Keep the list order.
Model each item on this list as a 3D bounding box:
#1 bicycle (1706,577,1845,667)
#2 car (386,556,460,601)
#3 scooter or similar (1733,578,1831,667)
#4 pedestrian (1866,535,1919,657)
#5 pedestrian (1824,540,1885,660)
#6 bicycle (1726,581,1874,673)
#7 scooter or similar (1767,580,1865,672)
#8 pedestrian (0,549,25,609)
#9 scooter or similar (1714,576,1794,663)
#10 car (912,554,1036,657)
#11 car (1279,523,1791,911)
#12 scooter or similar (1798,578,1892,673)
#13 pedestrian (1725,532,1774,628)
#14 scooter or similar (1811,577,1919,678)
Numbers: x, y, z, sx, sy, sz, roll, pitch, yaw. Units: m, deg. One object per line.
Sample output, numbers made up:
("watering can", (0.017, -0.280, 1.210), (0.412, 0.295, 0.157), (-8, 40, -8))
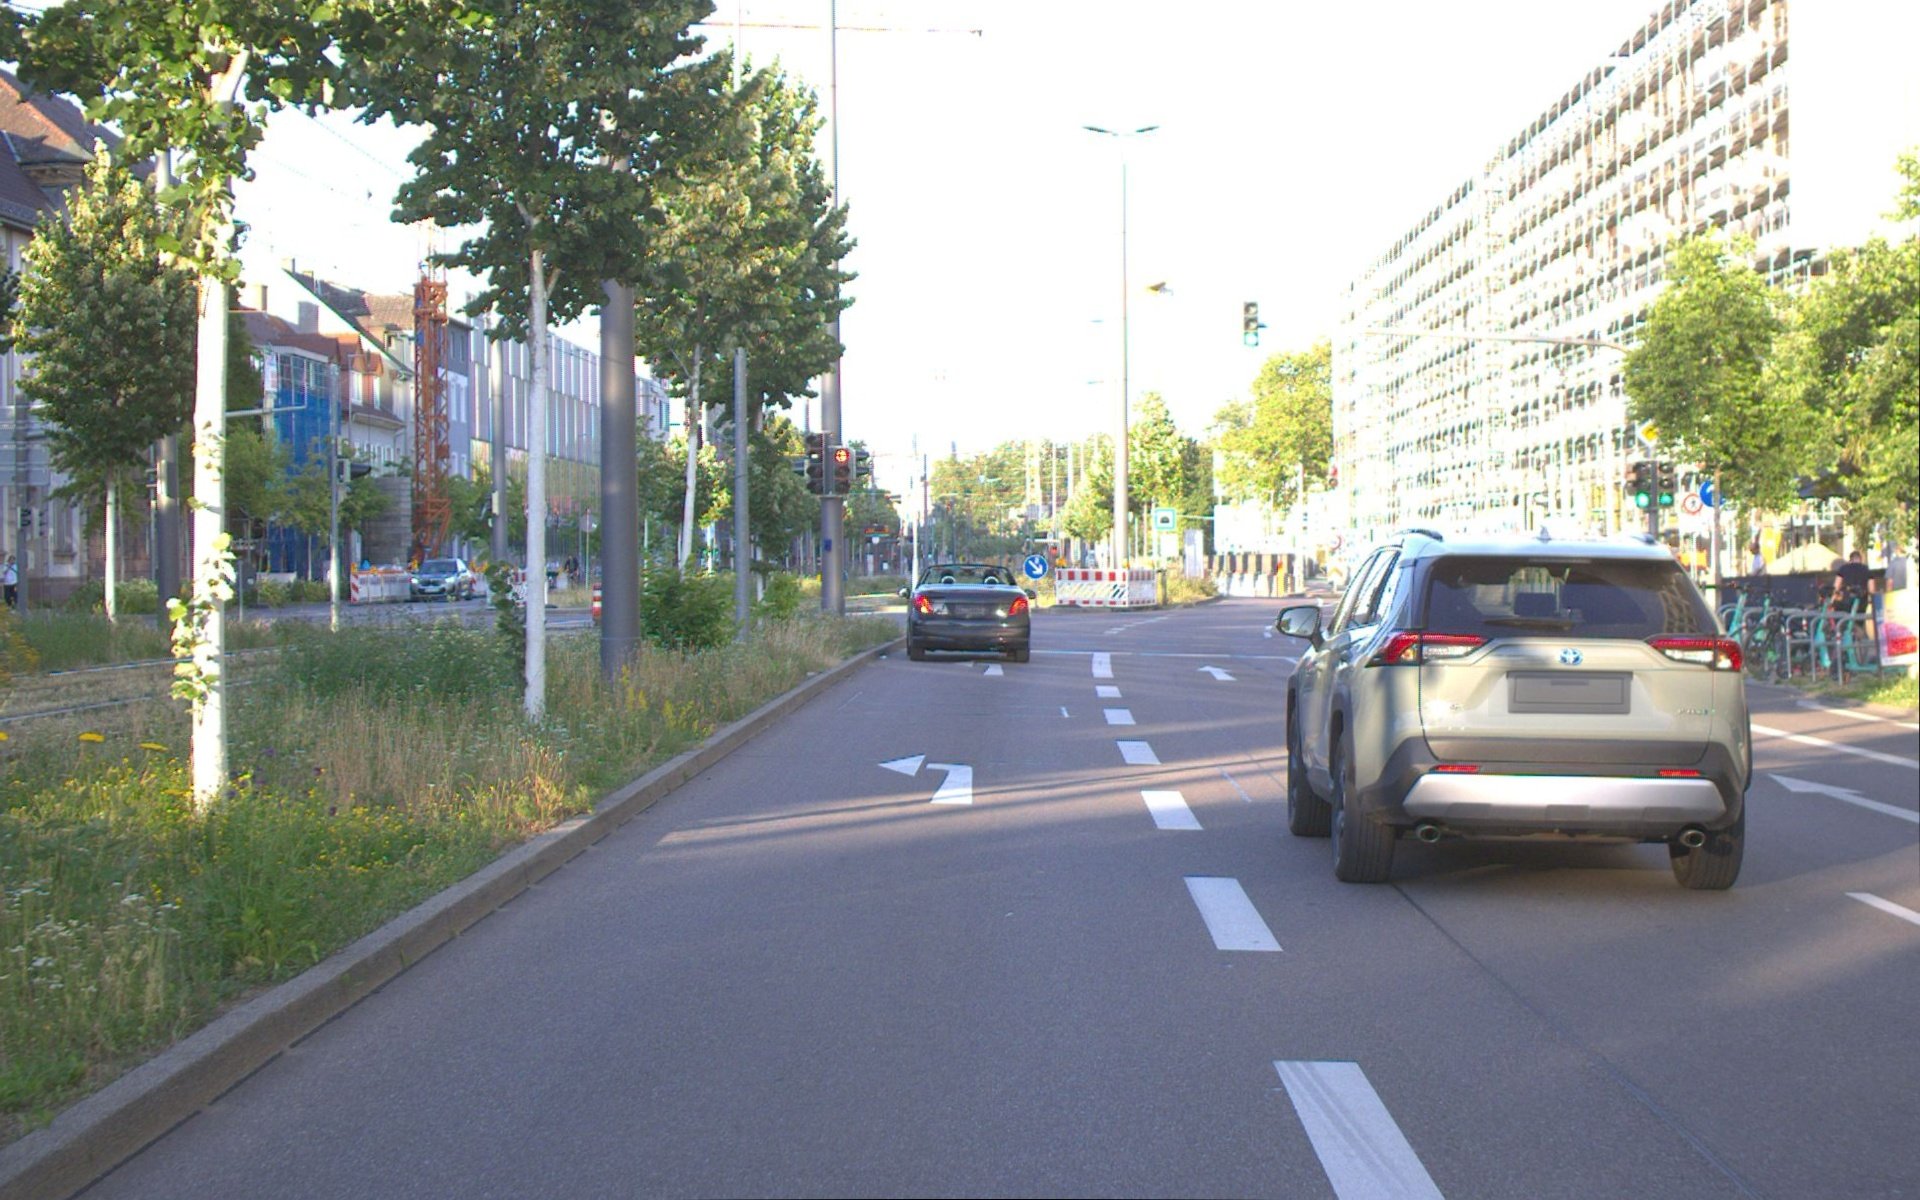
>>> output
("bicycle", (11.638, 0.307, 49.072), (1.793, 1.189, 0.568), (-2, 1, -3))
("car", (-20.358, -0.829, 130.440), (1.993, 1.575, 4.124), (-2, 1, 2))
("scooter or similar", (11.600, 0.311, 48.539), (1.209, 1.197, 0.480), (-2, 1, -3))
("pedestrian", (13.615, -0.059, 49.885), (0.685, 1.729, 0.761), (-3, 1, 1))
("pedestrian", (12.924, -0.006, 49.698), (0.653, 1.696, 0.689), (-2, 1, 1))
("bicycle", (11.537, 0.364, 47.265), (1.846, 1.178, 0.608), (-2, 1, 1))
("scooter or similar", (11.469, 0.348, 46.096), (1.156, 1.187, 0.510), (-2, -1, 3))
("pedestrian", (-27.508, -0.612, 99.688), (0.702, 1.710, 0.813), (1, 1, -16))
("scooter or similar", (11.588, 0.279, 50.209), (1.062, 1.219, 0.549), (-2, 0, 11))
("car", (0.222, 0.051, 49.004), (1.674, 1.347, 4.000), (1, 1, 1))
("car", (2.702, 0.466, 17.127), (1.834, 1.667, 4.283), (1, 1, 0))
("scooter or similar", (11.664, 0.336, 45.306), (1.129, 1.209, 0.531), (-2, -1, 17))
("pedestrian", (15.402, -0.398, 67.081), (0.768, 1.841, 0.678), (-1, 1, 1))
("scooter or similar", (11.565, 0.349, 43.735), (1.294, 1.214, 0.535), (-3, 0, 25))
